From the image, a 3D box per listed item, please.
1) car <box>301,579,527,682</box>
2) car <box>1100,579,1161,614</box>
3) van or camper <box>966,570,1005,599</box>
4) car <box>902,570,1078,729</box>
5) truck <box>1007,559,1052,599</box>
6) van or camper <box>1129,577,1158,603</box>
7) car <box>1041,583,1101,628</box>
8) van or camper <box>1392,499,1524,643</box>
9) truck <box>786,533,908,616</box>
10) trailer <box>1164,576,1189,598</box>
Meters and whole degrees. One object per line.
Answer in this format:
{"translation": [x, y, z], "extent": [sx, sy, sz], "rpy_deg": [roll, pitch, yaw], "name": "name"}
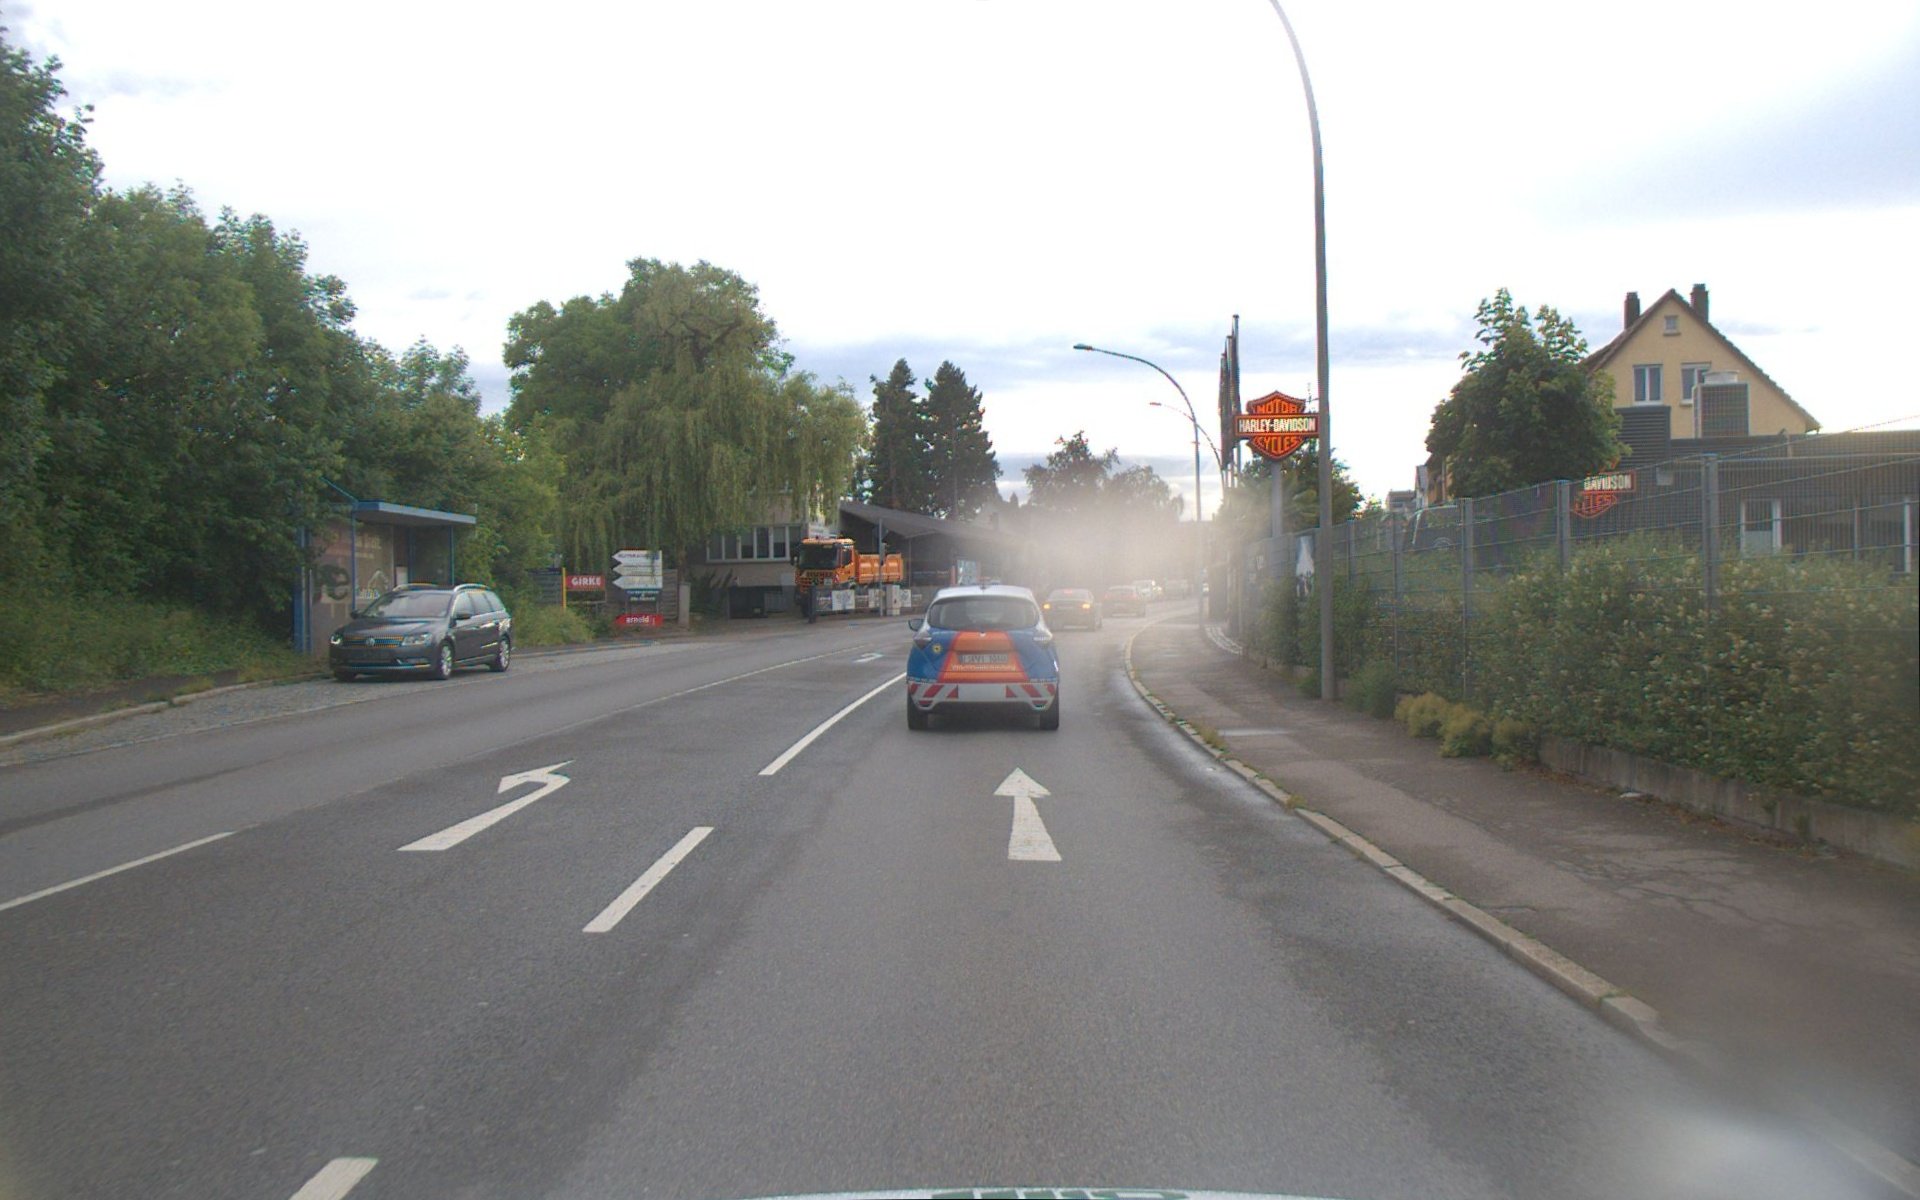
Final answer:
{"translation": [-8.828, 0.505, 27.215], "extent": [1.952, 1.500, 4.701], "rpy_deg": [1, -1, 2], "name": "car"}
{"translation": [7.814, -0.141, 75.532], "extent": [1.952, 1.445, 4.002], "rpy_deg": [1, -1, 17], "name": "car"}
{"translation": [1.824, -1.106, 117.908], "extent": [1.951, 1.942, 4.476], "rpy_deg": [1, 0, 11], "name": "van or camper"}
{"translation": [0.347, 0.500, 19.450], "extent": [1.849, 1.660, 4.001], "rpy_deg": [0, 1, 1], "name": "car"}
{"translation": [5.499, -1.628, 130.004], "extent": [2.343, 2.978, 5.962], "rpy_deg": [1, 0, 13], "name": "truck"}
{"translation": [15.298, -0.846, 137.703], "extent": [1.850, 2.049, 5.102], "rpy_deg": [0, 1, 13], "name": "van or camper"}
{"translation": [3.676, 0.196, 55.368], "extent": [1.685, 1.400, 3.933], "rpy_deg": [2, -1, 0], "name": "car"}
{"translation": [10.146, -0.583, 34.130], "extent": [1.997, 2.638, 6.596], "rpy_deg": [-1, 1, 12], "name": "van or camper"}
{"translation": [-5.098, -1.072, 76.976], "extent": [2.640, 3.471, 9.076], "rpy_deg": [1, -1, 16], "name": "truck"}
{"translation": [21.470, -1.301, 164.142], "extent": [2.173, 2.049, 4.440], "rpy_deg": [0, 1, 11], "name": "trailer"}
